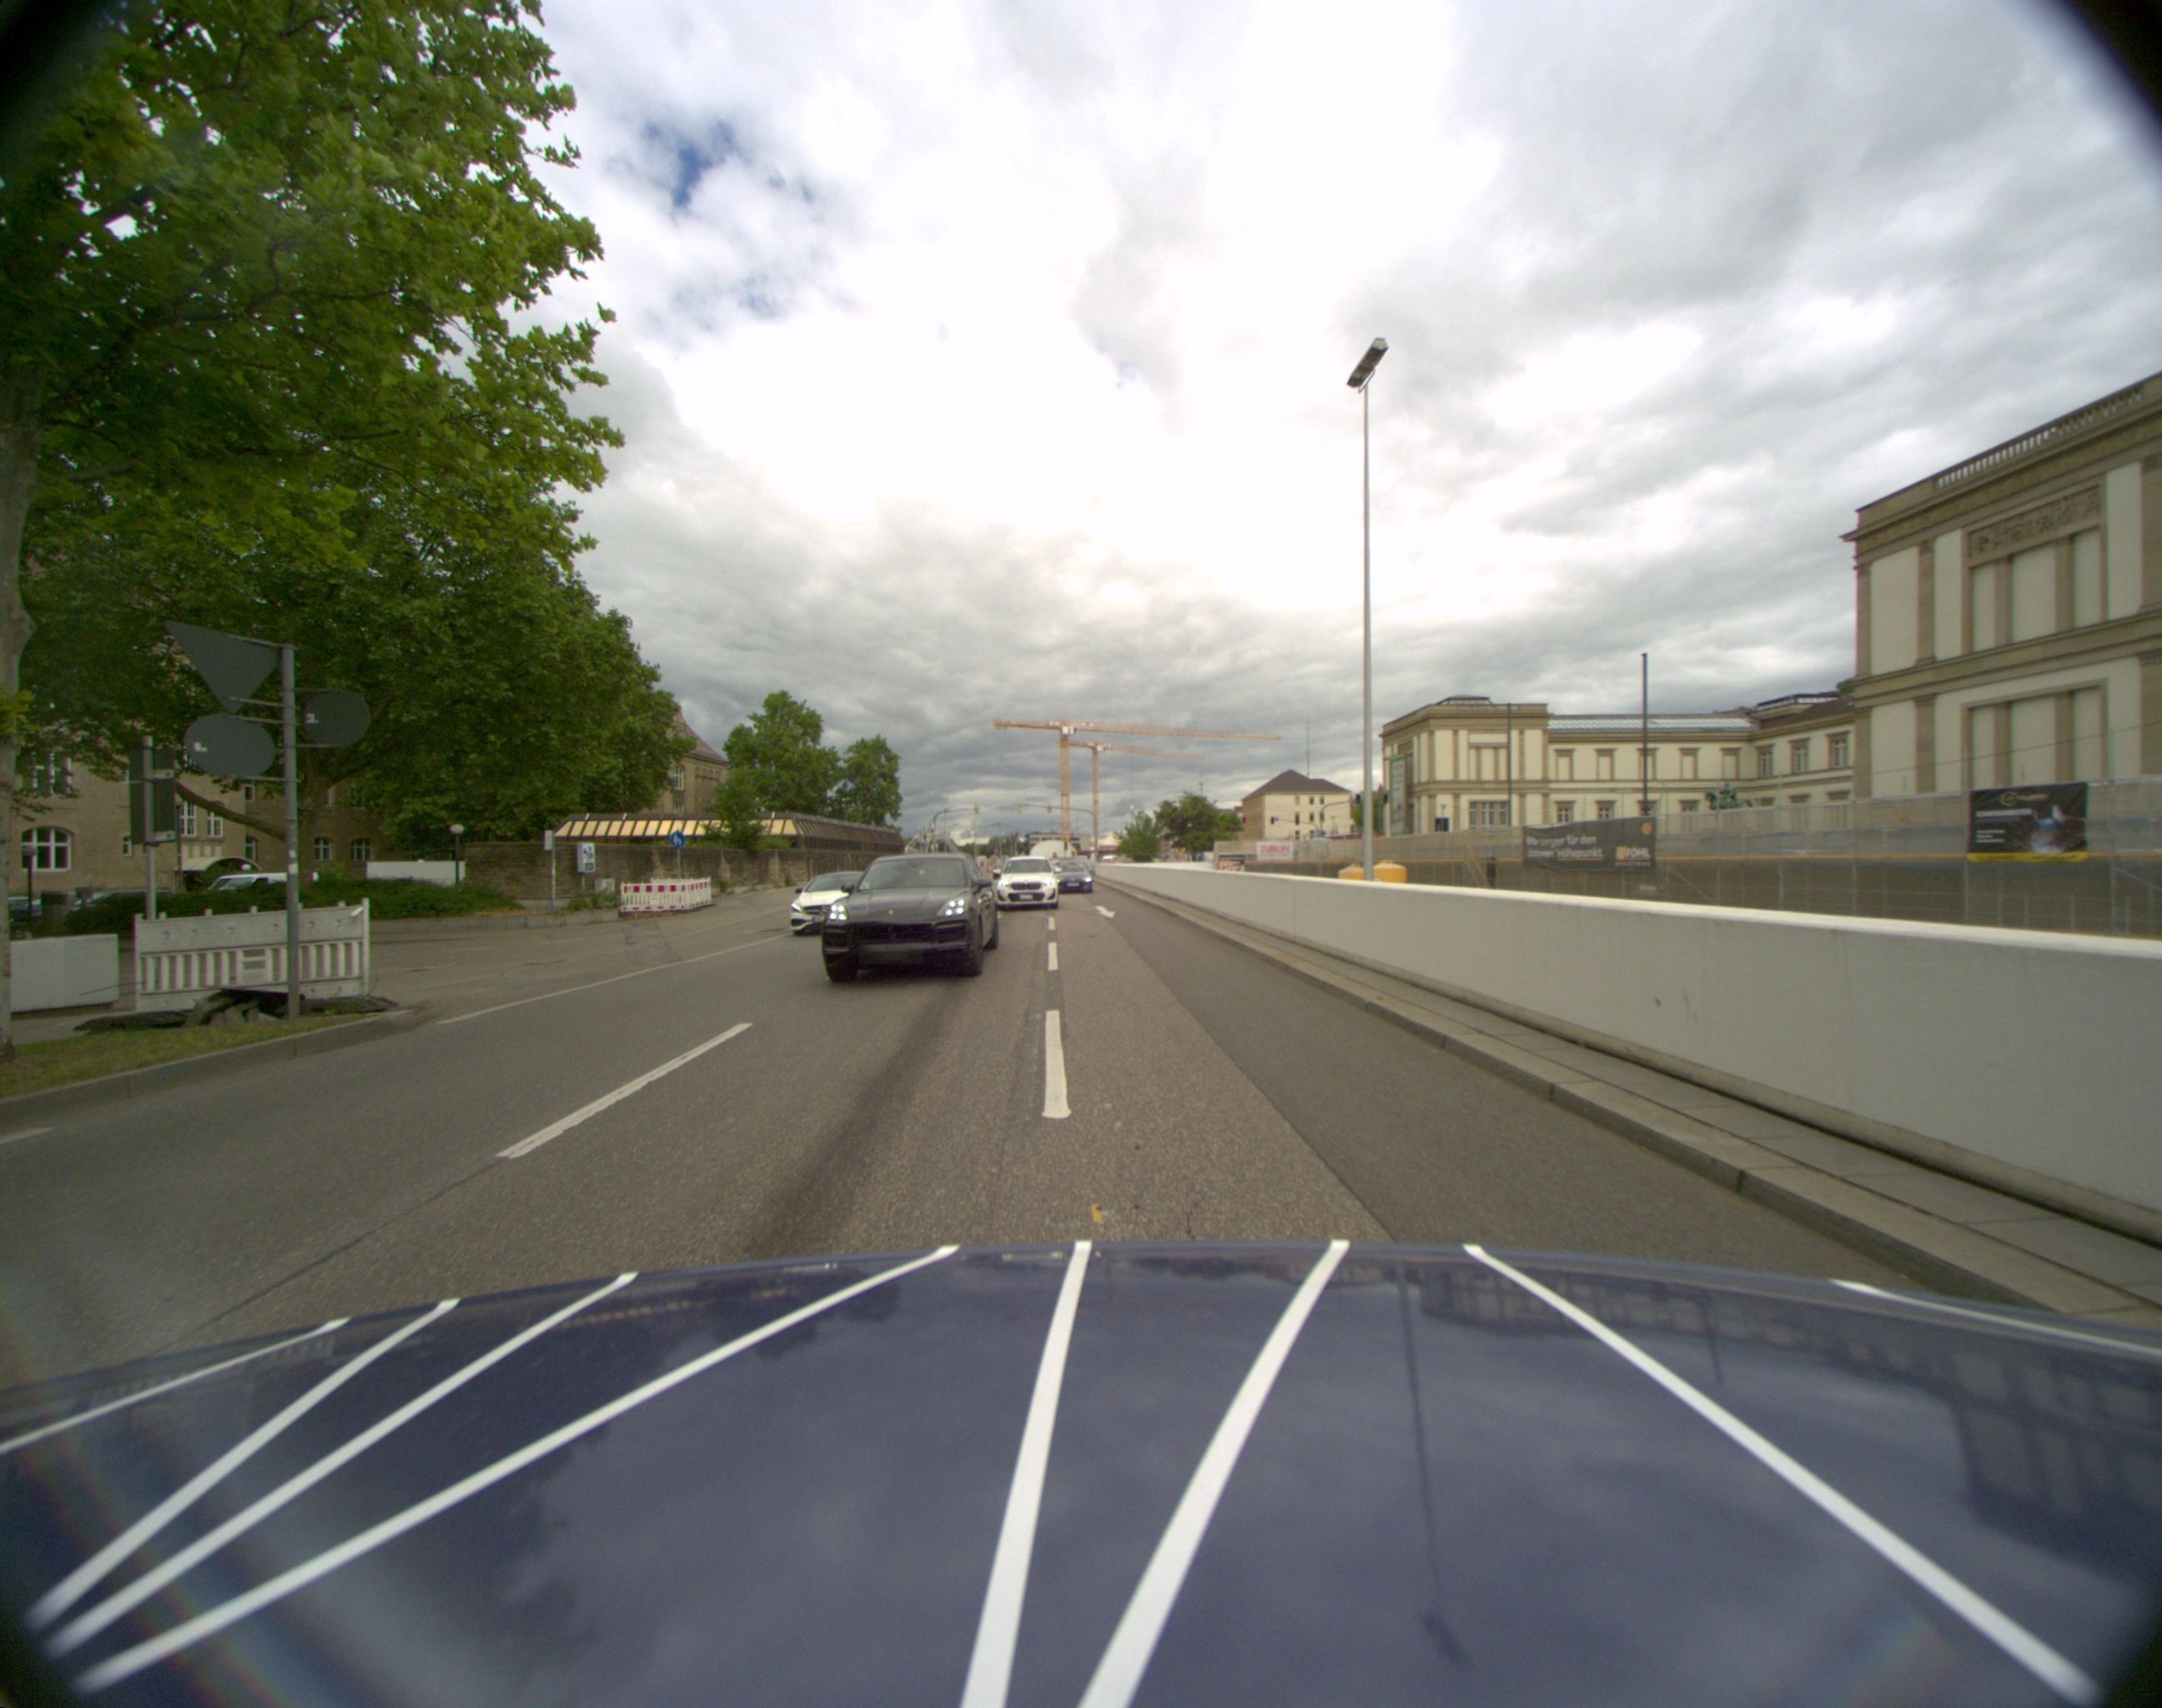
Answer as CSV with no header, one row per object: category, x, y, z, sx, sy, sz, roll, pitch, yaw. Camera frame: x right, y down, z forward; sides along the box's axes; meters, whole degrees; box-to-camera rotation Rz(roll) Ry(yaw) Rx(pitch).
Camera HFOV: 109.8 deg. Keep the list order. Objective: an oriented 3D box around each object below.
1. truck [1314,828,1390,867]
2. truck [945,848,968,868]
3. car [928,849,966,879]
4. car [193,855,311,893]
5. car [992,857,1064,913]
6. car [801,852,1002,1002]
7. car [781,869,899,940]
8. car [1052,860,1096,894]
truck,30.918,-0.543,87.842,2.925,4.058,16.615,0,-1,0
truck,-23.716,0.730,143.869,2.913,3.653,9.013,0,0,-18
car,-8.335,0.581,47.559,1.812,1.815,3.772,0,0,-1
car,-42.794,0.990,39.364,1.812,1.815,3.972,0,0,-1
car,-1.564,0.887,23.605,1.812,1.595,3.713,0,0,2
car,-2.340,0.849,11.251,1.956,1.638,4.606,-3,1,-2
car,-5.886,1.165,19.130,1.739,1.427,4.380,-3,0,-4
car,-0.264,1.000,34.771,1.852,1.412,4.105,-2,0,1
